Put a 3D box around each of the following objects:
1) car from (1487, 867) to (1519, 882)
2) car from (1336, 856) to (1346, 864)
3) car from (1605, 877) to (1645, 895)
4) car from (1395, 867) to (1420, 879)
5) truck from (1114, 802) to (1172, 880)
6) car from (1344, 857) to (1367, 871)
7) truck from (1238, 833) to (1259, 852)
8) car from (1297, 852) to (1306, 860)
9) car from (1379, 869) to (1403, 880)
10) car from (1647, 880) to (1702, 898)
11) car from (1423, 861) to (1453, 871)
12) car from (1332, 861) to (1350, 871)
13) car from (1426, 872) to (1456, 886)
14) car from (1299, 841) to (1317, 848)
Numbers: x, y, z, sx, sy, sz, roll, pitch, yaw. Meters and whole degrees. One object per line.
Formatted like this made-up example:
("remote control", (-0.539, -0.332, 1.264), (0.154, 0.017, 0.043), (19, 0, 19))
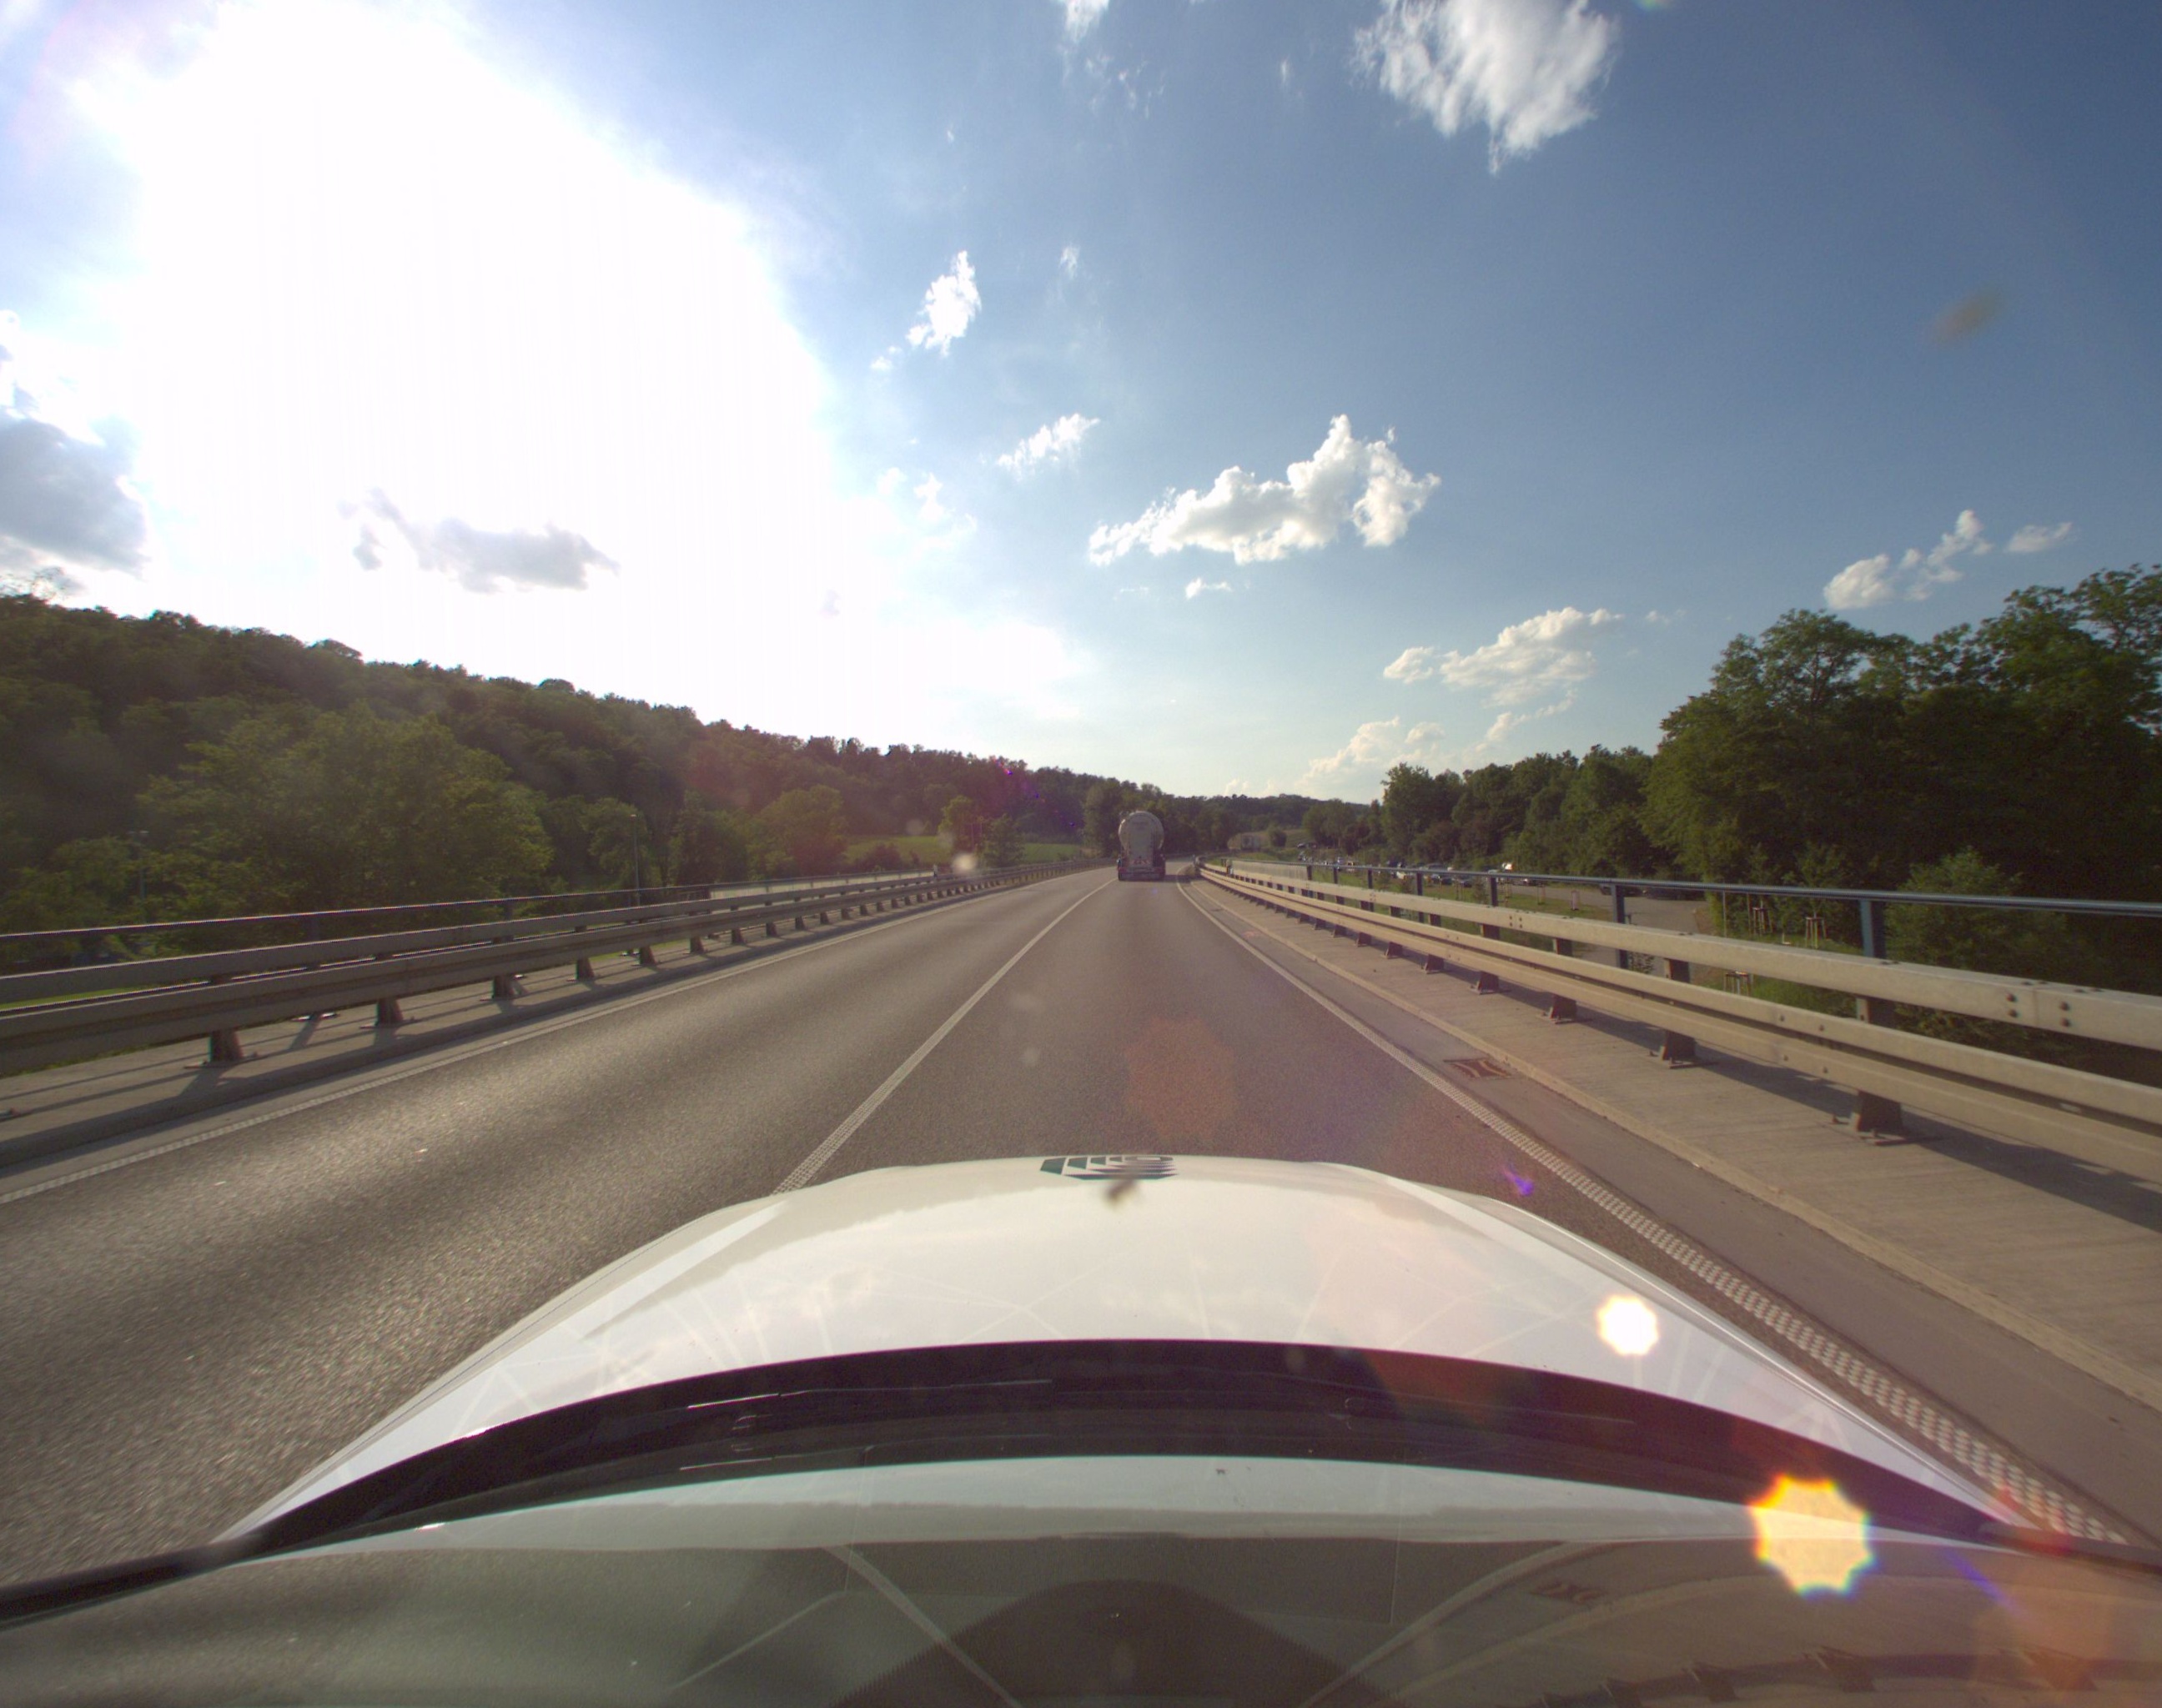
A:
("car", (52.838, 2.558, 102.156), (1.648, 1.666, 4.710), (-2, 0, 2))
("car", (57.390, 1.270, 179.672), (1.690, 1.510, 3.957), (-2, 0, 11))
("car", (51.864, 3.061, 77.688), (1.645, 1.496, 3.837), (-2, 0, 8))
("car", (47.866, 2.716, 119.414), (1.814, 1.482, 4.252), (-4, 1, -3))
("truck", (4.088, -0.703, 50.647), (2.877, 4.142, 13.198), (-1, 0, 7))
("car", (48.056, 1.690, 142.585), (2.112, 2.017, 5.380), (-5, 1, 1))
("truck", (40.585, -2.929, 196.953), (3.158, 4.227, 13.235), (-2, 1, 18))
("car", (56.648, 0.561, 208.993), (1.876, 1.559, 4.807), (-5, 1, 19))
("car", (47.567, 3.123, 125.069), (1.814, 1.482, 4.390), (-4, 1, -3))
("car", (52.873, 3.093, 72.604), (1.669, 1.496, 3.640), (-2, 0, -41))
("car", (57.717, 1.943, 131.750), (4.227, 1.456, 1.614), (-1, 0, -6))
("car", (48.186, 2.174, 151.112), (1.885, 1.482, 4.783), (-5, 1, 1))
("car", (47.216, 3.274, 106.976), (1.814, 1.401, 4.252), (-4, 1, -3))
("car", (69.020, -2.895, 247.430), (5.095, 1.943, 1.986), (5, 4, 23))
